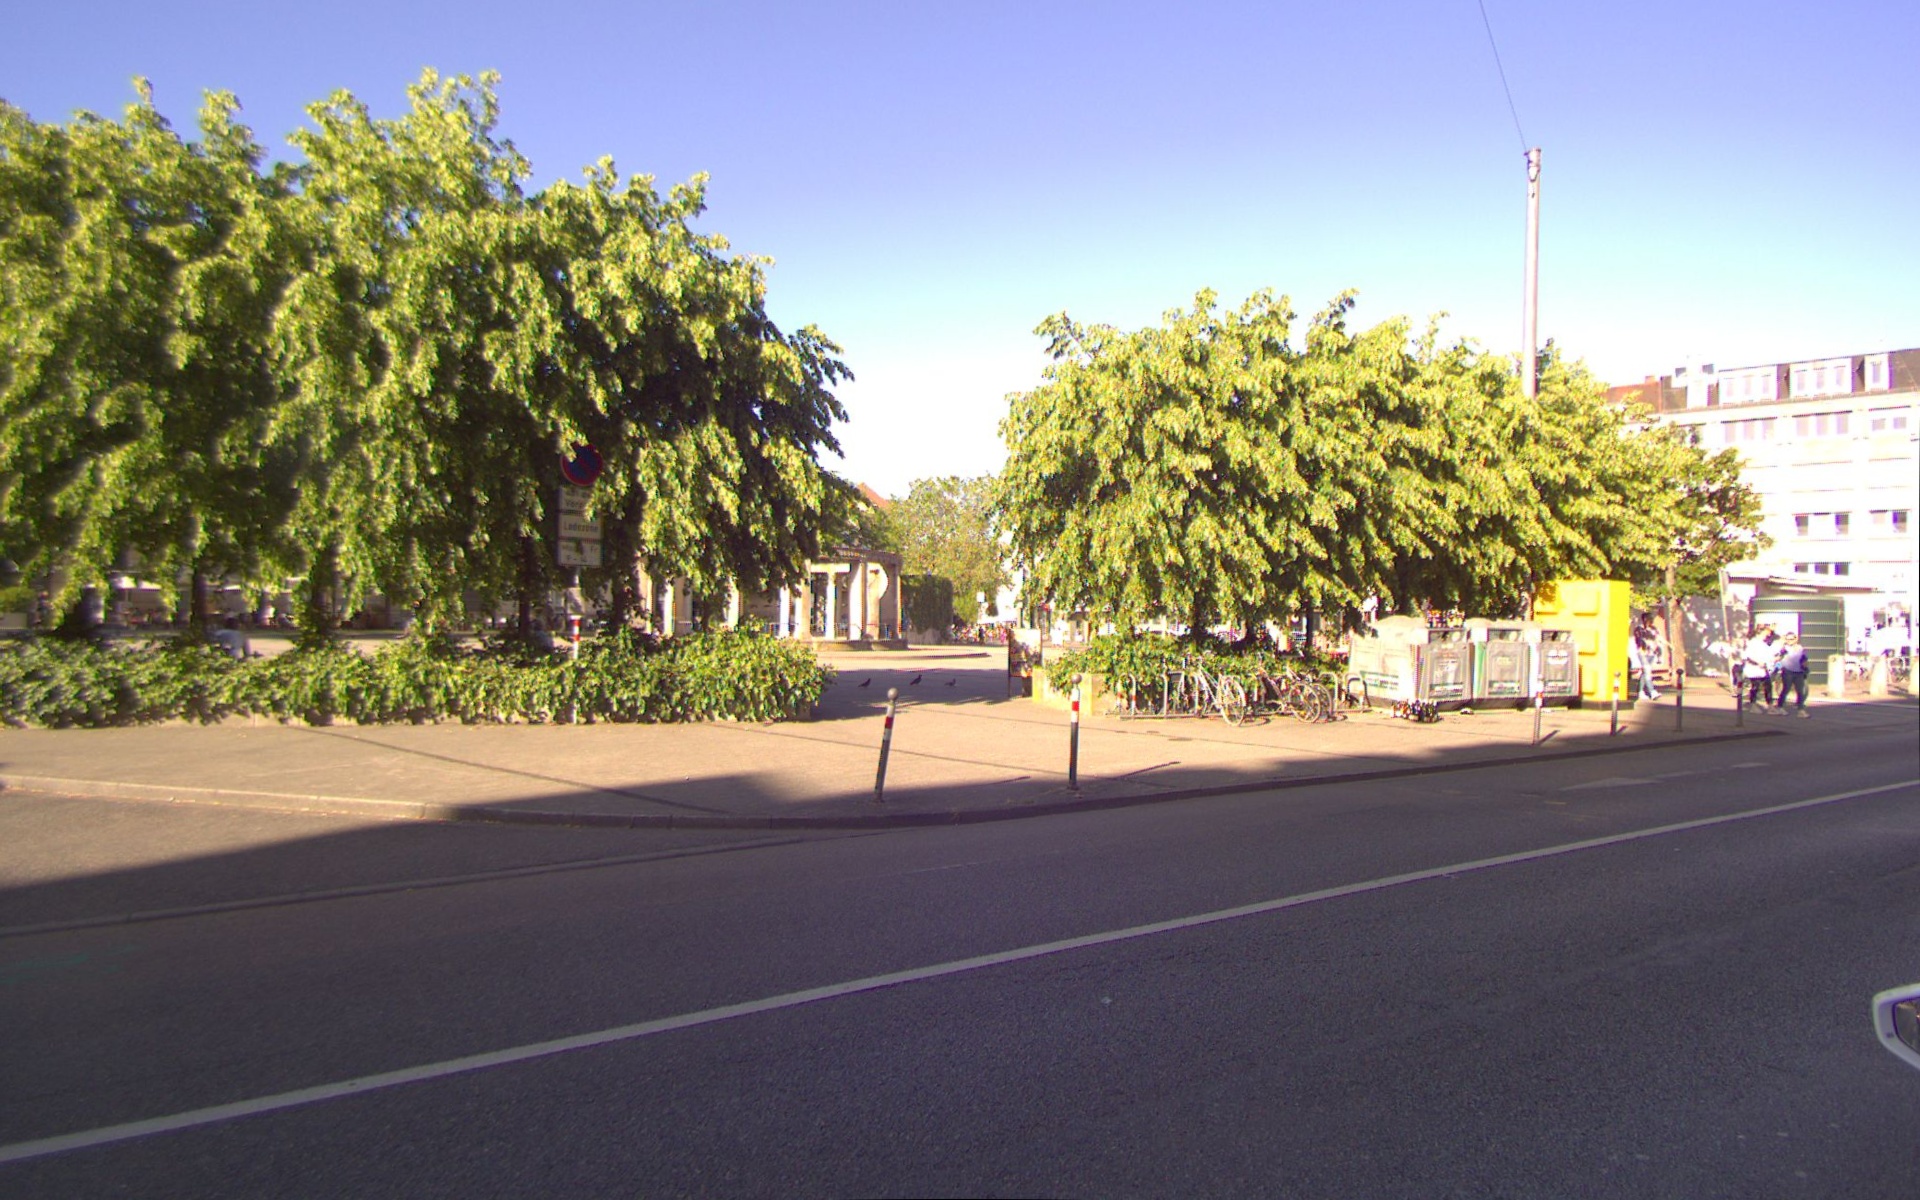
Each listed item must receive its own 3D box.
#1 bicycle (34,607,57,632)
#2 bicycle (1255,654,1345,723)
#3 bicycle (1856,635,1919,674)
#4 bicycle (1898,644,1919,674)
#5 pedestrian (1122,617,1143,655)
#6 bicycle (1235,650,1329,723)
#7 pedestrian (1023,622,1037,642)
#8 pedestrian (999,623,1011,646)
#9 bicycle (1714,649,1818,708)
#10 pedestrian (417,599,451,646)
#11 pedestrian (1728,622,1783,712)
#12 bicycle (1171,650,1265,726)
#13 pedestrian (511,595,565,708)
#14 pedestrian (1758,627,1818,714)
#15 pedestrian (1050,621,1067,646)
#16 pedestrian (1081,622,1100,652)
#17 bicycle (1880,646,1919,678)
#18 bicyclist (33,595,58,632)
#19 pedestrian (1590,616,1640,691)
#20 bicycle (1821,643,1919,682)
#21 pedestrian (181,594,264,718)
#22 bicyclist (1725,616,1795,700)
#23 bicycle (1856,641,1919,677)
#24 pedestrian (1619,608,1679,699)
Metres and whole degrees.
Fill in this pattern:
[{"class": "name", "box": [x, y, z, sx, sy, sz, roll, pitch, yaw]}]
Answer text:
[{"class": "bicycle", "box": [-35.931, 0.766, 39.476, 0.584, 0.966, 1.884, 1, -1, -40]}, {"class": "bicycle", "box": [5.485, 1.408, 16.284, 0.425, 0.971, 1.518, 0, 0, -28]}, {"class": "bicycle", "box": [34.187, 1.973, 36.358, 0.913, 1.341, 2.461, 1, -1, -35]}, {"class": "bicycle", "box": [38.384, 2.350, 39.344, 0.834, 1.171, 2.308, 1, -1, -34]}, {"class": "pedestrian", "box": [9.336, 1.935, 54.301, 0.912, 2.040, 1.185, 1, -1, 0]}, {"class": "bicycle", "box": [5.093, 1.350, 15.964, 0.425, 1.036, 1.561, 1, -1, -28]}, {"class": "pedestrian", "box": [7.266, 3.286, 103.979, 1.252, 2.040, 1.285, 1, -1, -4]}, {"class": "pedestrian", "box": [3.983, 3.079, 89.632, 0.886, 2.041, 1.286, 0, 1, 10]}, {"class": "bicycle", "box": [18.338, 1.761, 22.926, 0.528, 1.154, 2.065, 1, 1, -6]}, {"class": "pedestrian", "box": [-20.431, 0.859, 39.018, 0.723, 1.781, 0.898, 1, -1, 29]}, {"class": "pedestrian", "box": [15.836, 1.318, 20.010, 0.661, 1.751, 0.549, 1, -1, 3]}, {"class": "bicycle", "box": [3.924, 1.316, 15.381, 0.425, 1.031, 1.590, 1, 0, -28]}, {"class": "pedestrian", "box": [-6.870, 0.819, 16.379, 0.725, 1.781, 0.895, 1, -1, -19]}, {"class": "pedestrian", "box": [16.467, 1.382, 19.992, 0.609, 1.684, 0.685, 1, -1, -3]}, {"class": "pedestrian", "box": [8.542, 2.887, 86.787, 1.252, 2.040, 1.285, 1, -1, -4]}, {"class": "pedestrian", "box": [9.004, 2.558, 69.140, 0.804, 2.040, 1.047, 1, -1, -31]}, {"class": "bicycle", "box": [36.460, 2.360, 37.865, 0.834, 1.171, 2.517, 1, -1, -34]}, {"class": "bicyclist", "box": [-35.939, 0.522, 39.496, 0.668, 1.447, 0.690, 1, -1, -40]}, {"class": "pedestrian", "box": [16.414, 1.326, 25.178, 0.727, 1.851, 0.847, 1, -1, 4]}, {"class": "bicycle", "box": [30.611, 2.082, 33.704, 0.833, 1.171, 2.493, 1, -1, -31]}, {"class": "pedestrian", "box": [-11.044, 0.821, 15.072, 0.725, 1.781, 0.895, 1, -1, -19]}, {"class": "bicyclist", "box": [18.290, 1.309, 22.982, 0.773, 1.862, 0.952, 1, 0, -7]}, {"class": "bicycle", "box": [32.827, 2.065, 34.868, 0.833, 1.171, 2.449, 1, -1, -31]}, {"class": "pedestrian", "box": [15.557, 1.194, 22.704, 0.699, 1.981, 0.828, 1, 0, -18]}]
